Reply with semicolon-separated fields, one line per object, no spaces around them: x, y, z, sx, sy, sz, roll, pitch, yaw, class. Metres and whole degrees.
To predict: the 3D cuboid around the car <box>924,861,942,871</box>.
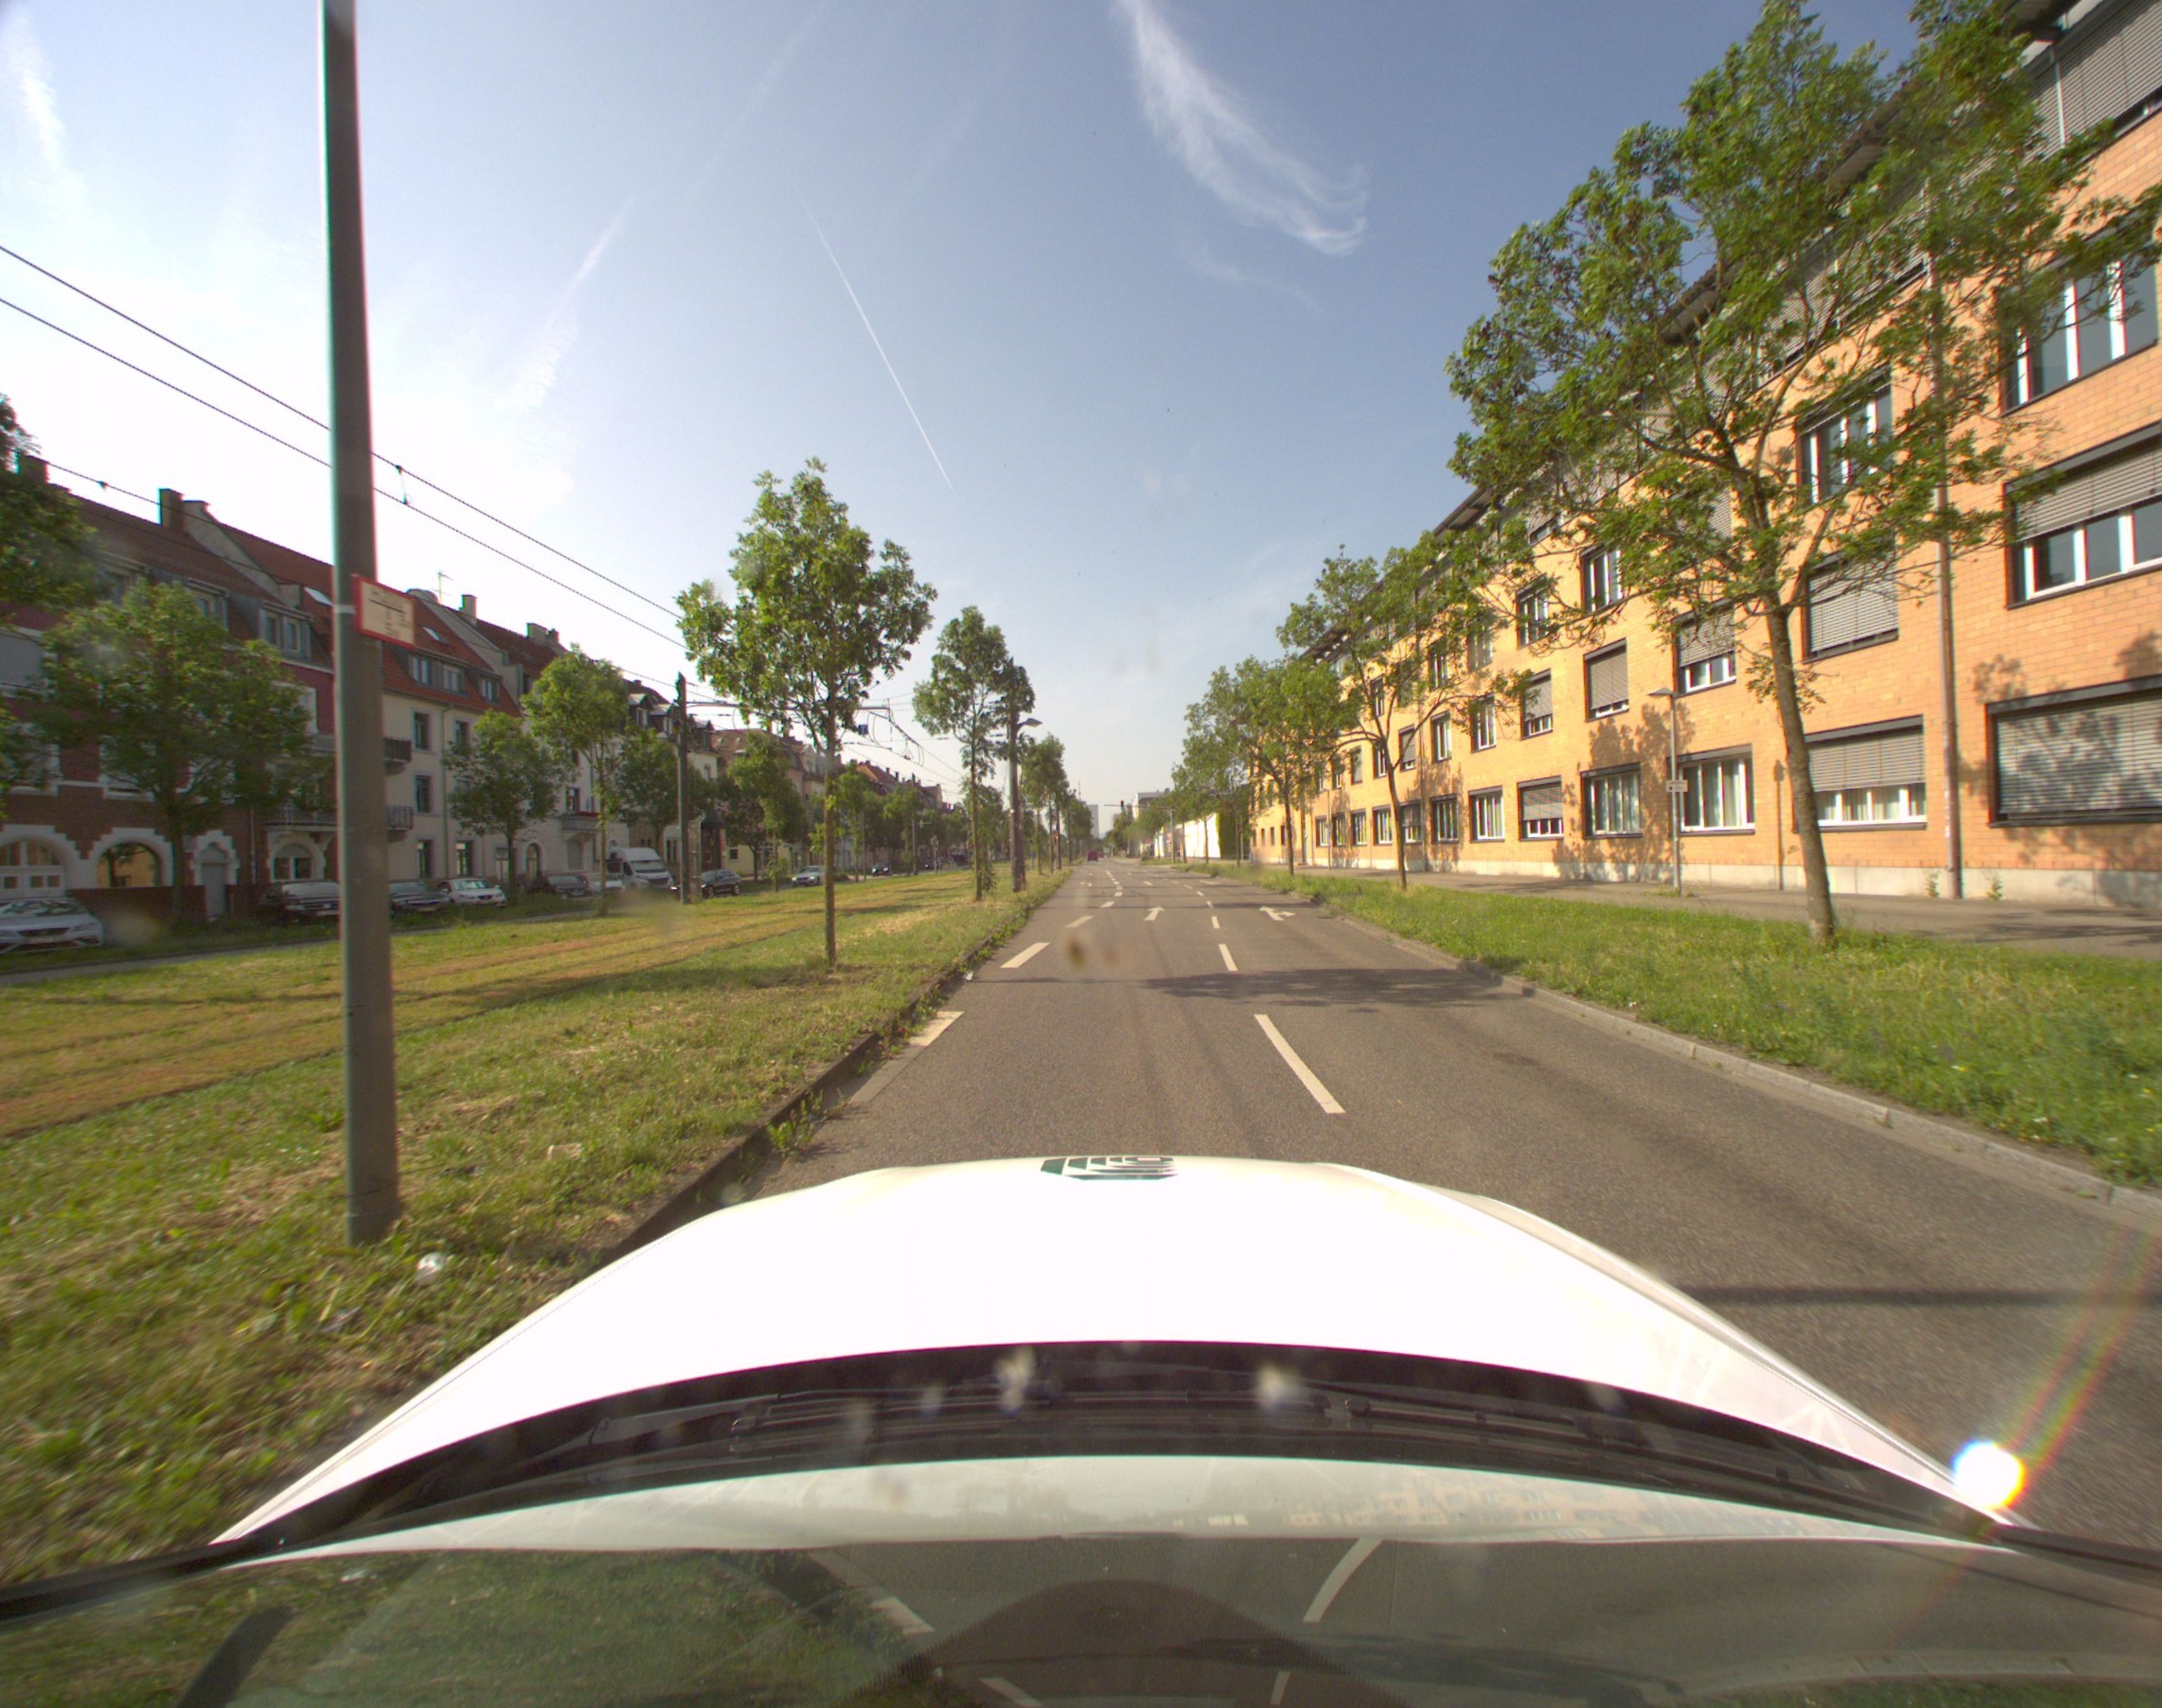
-21.360;1.733;117.579;1.806;1.433;3.925;0;-1;0;car

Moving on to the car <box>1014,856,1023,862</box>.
-17.029;1.452;221.166;1.957;1.694;4.299;0;-1;2;car

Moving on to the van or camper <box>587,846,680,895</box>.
-25.209;0.880;45.782;5.849;2.573;2.213;0;-1;35;van or camper

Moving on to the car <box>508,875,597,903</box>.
-25.322;1.643;39.052;3.644;1.241;1.670;0;-1;20;car

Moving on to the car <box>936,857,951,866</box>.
-25.174;1.360;149.055;1.988;1.628;4.773;0;0;-1;car

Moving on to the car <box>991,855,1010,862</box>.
-22.375;1.221;226.621;5.258;1.738;2.013;0;-1;34;car

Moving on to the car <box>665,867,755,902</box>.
-18.881;1.520;41.764;1.986;1.630;5.382;0;0;2;car

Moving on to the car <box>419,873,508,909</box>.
-24.568;1.430;32.361;3.963;1.316;1.673;0;-1;35;car

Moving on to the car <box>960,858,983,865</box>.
-22.214;1.432;165.161;4.419;1.419;1.988;0;-1;38;car

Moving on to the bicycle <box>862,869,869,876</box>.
-28.785;2.475;108.891;0.436;0.789;1.947;0;-1;-1;bicycle

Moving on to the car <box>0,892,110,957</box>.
-24.273;1.593;19.046;3.639;1.241;1.673;0;-1;35;car

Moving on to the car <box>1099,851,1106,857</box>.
5.927;0.097;225.663;1.742;1.650;3.217;0;-1;1;car

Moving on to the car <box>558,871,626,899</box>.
-25.395;1.586;42.248;3.639;1.331;1.673;0;-1;35;car

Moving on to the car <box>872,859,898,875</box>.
-20.411;1.348;84.945;1.758;1.655;4.001;0;-1;1;car

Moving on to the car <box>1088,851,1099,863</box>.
2.153;0.522;139.774;1.742;2.014;3.217;0;-1;1;car

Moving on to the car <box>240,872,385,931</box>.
-24.985;1.549;26.471;4.591;1.743;1.844;-2;-1;25;car

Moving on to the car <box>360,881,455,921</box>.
-23.855;1.619;28.821;3.639;1.241;1.673;0;-1;35;car

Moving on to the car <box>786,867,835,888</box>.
-19.346;1.660;58.511;1.941;1.459;4.648;0;0;0;car
